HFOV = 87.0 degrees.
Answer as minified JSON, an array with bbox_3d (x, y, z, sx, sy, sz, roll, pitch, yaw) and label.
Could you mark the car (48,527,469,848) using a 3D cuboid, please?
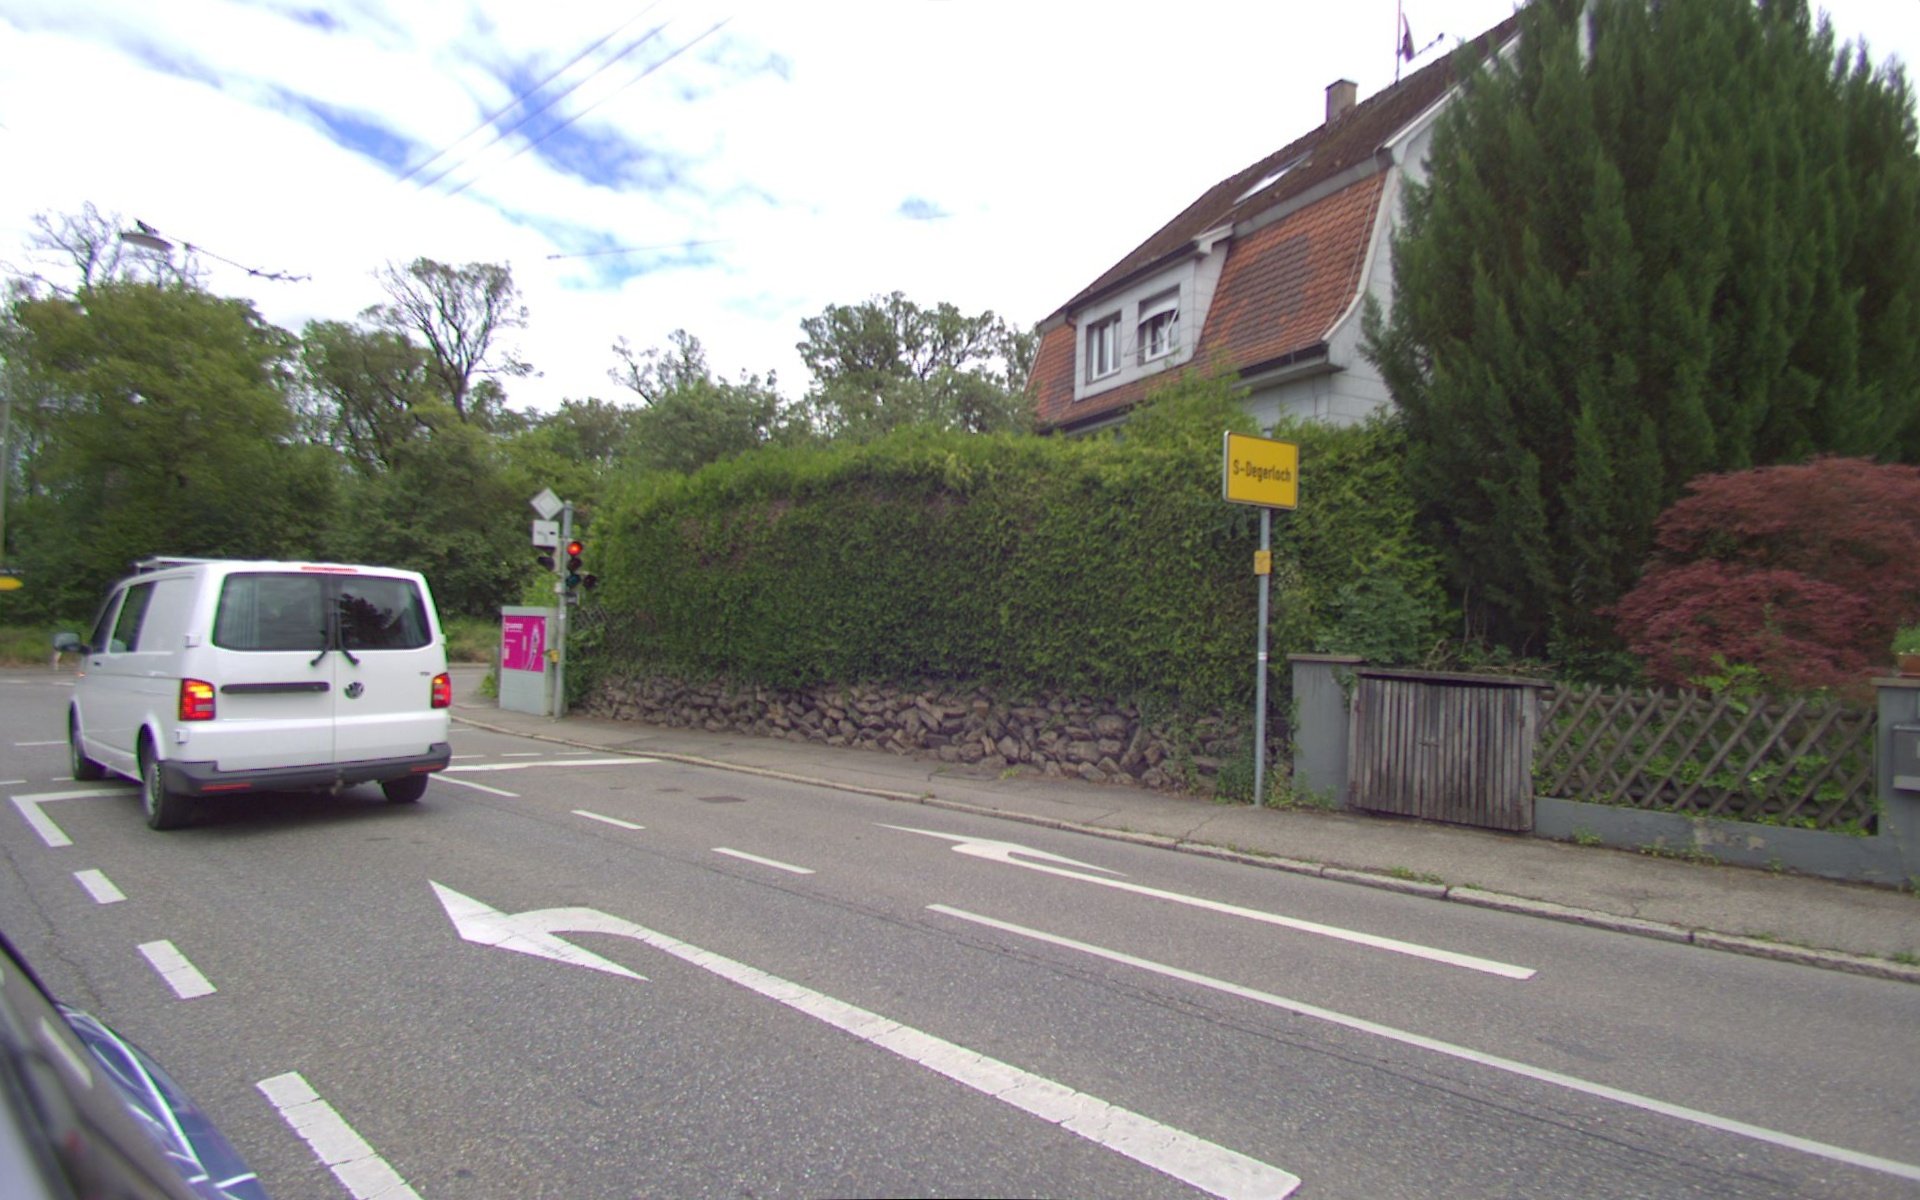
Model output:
[{"bbox_3d":[-6.408,0.629,8.950,5.170,2.063,1.838,-1,-3,42],"label":"car"}]
